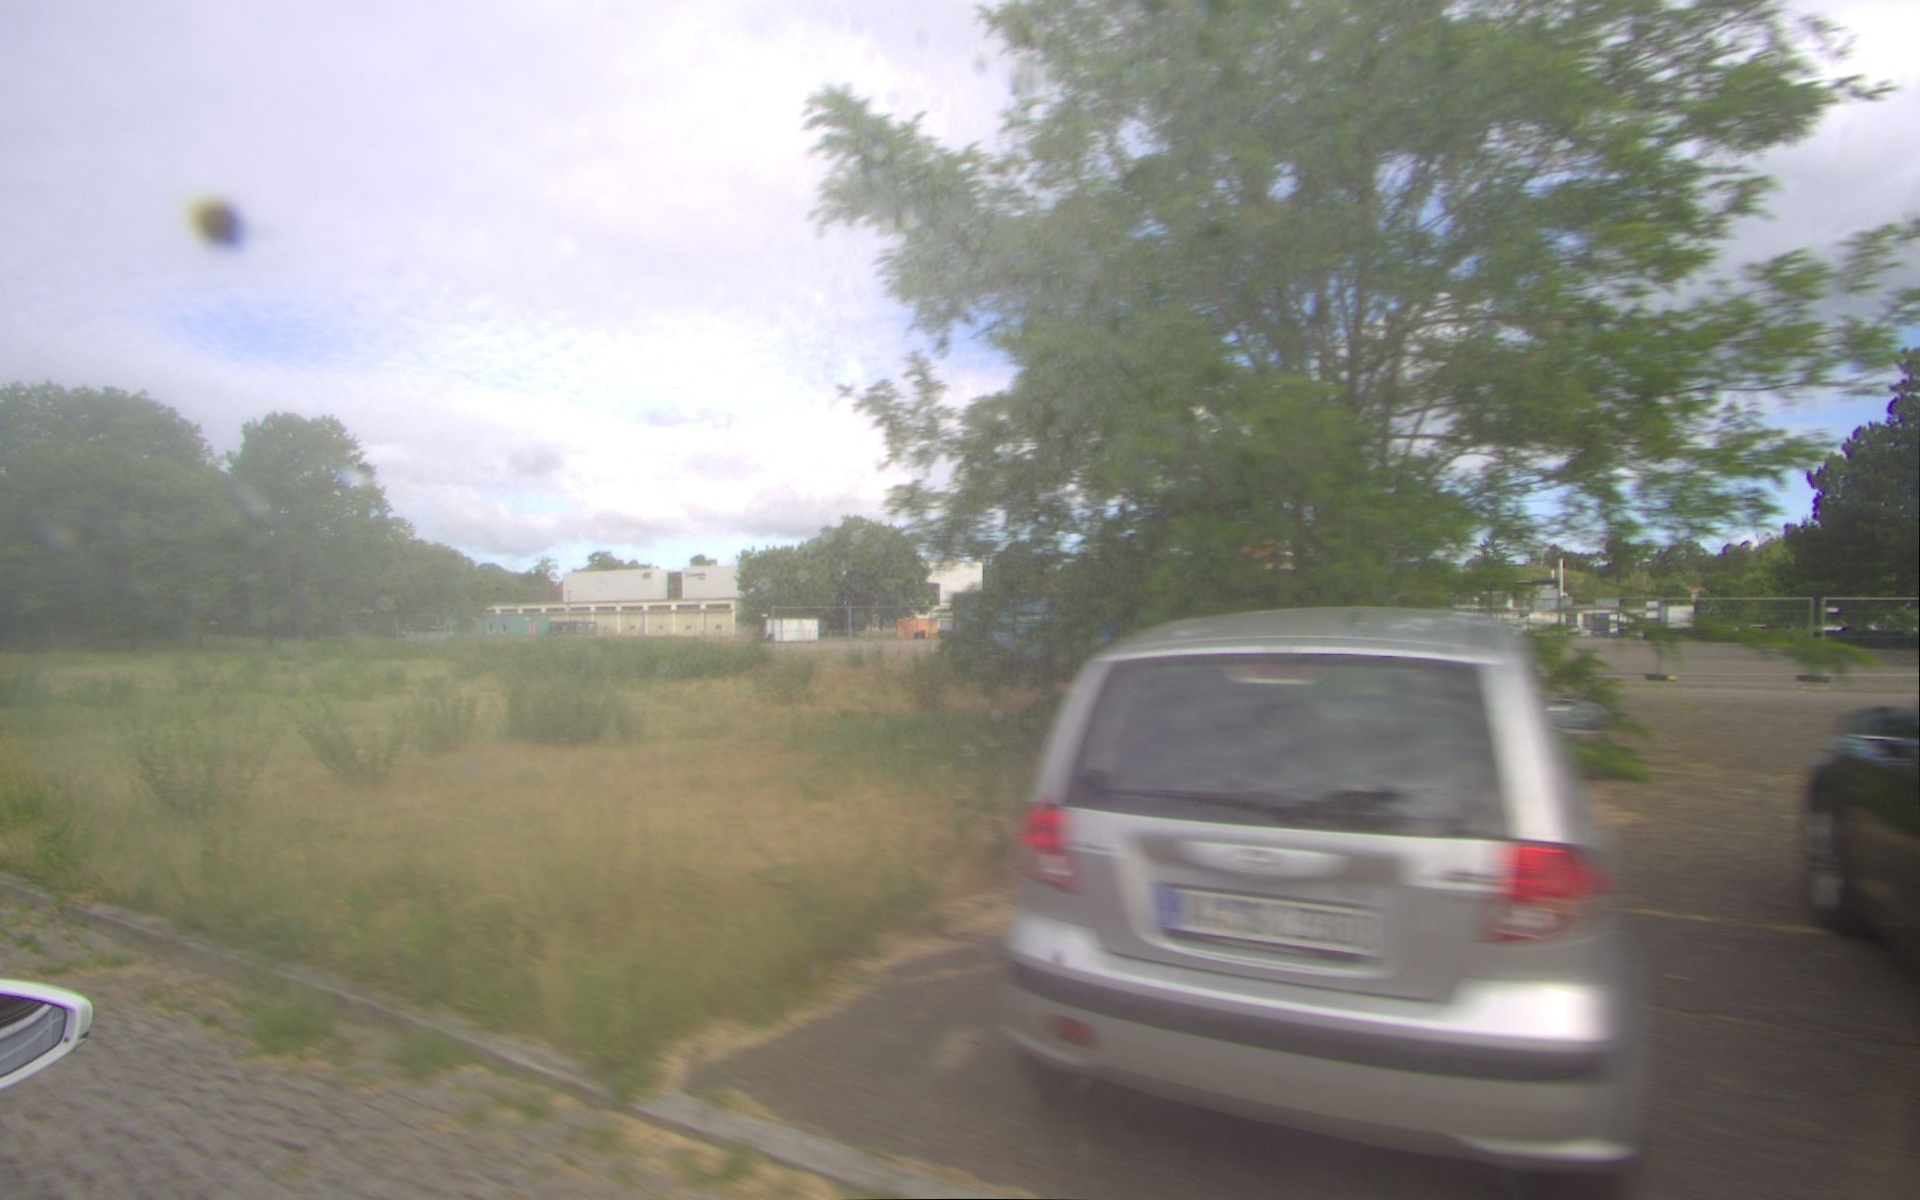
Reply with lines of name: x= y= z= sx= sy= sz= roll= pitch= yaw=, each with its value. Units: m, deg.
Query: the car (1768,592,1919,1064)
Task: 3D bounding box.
car: x=3.869 y=0.756 z=2.703 sx=1.856 sy=1.473 sz=4.068 roll=0 pitch=2 yaw=28

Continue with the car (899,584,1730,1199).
car: x=1.578 y=0.754 z=4.071 sx=1.776 sy=1.536 sz=4.068 roll=0 pitch=2 yaw=28
